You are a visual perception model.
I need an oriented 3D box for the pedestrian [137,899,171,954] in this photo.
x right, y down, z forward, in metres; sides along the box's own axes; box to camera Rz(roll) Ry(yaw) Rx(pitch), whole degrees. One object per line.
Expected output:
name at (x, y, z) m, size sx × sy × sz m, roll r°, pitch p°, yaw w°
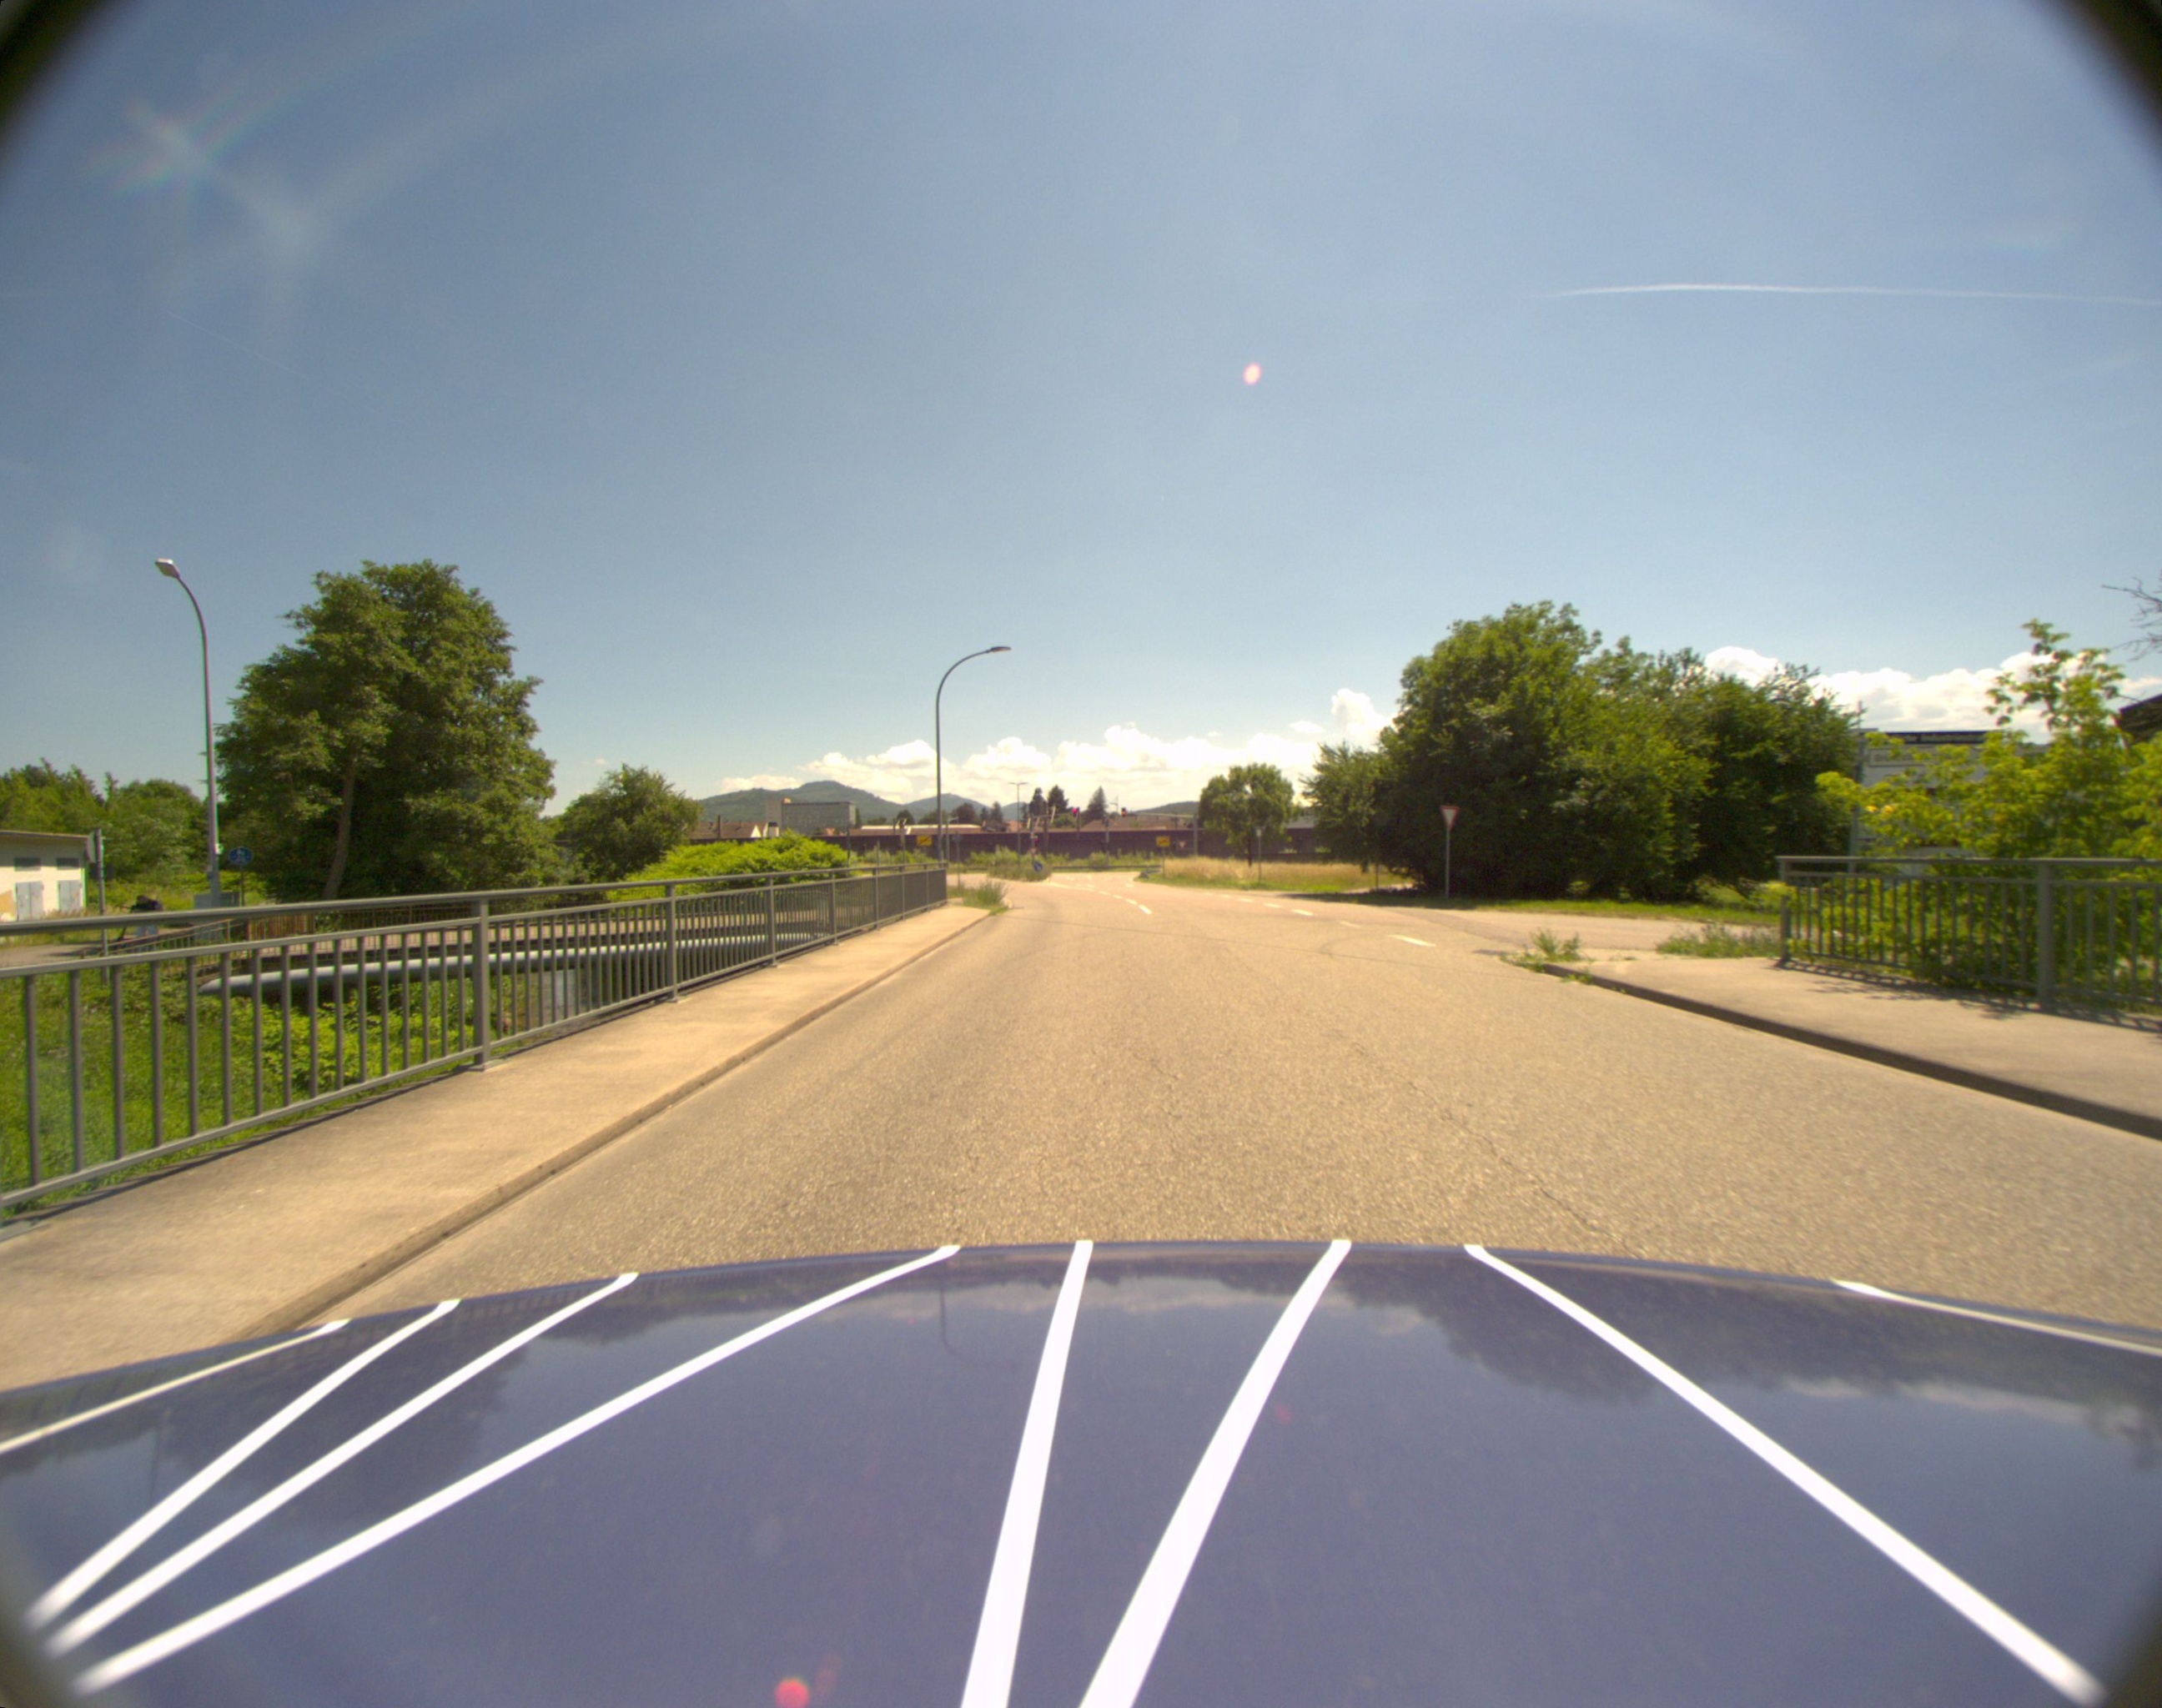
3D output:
pedestrian at (-26.573, 2.057, 21.784) m, size 0.439 × 1.529 × 0.413 m, roll -3°, pitch 0°, yaw -27°

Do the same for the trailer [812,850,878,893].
trailer at (-12.178, 0.838, 39.007) m, size 1.855 × 2.066 × 3.958 m, roll -2°, pitch 2°, yaw -39°
